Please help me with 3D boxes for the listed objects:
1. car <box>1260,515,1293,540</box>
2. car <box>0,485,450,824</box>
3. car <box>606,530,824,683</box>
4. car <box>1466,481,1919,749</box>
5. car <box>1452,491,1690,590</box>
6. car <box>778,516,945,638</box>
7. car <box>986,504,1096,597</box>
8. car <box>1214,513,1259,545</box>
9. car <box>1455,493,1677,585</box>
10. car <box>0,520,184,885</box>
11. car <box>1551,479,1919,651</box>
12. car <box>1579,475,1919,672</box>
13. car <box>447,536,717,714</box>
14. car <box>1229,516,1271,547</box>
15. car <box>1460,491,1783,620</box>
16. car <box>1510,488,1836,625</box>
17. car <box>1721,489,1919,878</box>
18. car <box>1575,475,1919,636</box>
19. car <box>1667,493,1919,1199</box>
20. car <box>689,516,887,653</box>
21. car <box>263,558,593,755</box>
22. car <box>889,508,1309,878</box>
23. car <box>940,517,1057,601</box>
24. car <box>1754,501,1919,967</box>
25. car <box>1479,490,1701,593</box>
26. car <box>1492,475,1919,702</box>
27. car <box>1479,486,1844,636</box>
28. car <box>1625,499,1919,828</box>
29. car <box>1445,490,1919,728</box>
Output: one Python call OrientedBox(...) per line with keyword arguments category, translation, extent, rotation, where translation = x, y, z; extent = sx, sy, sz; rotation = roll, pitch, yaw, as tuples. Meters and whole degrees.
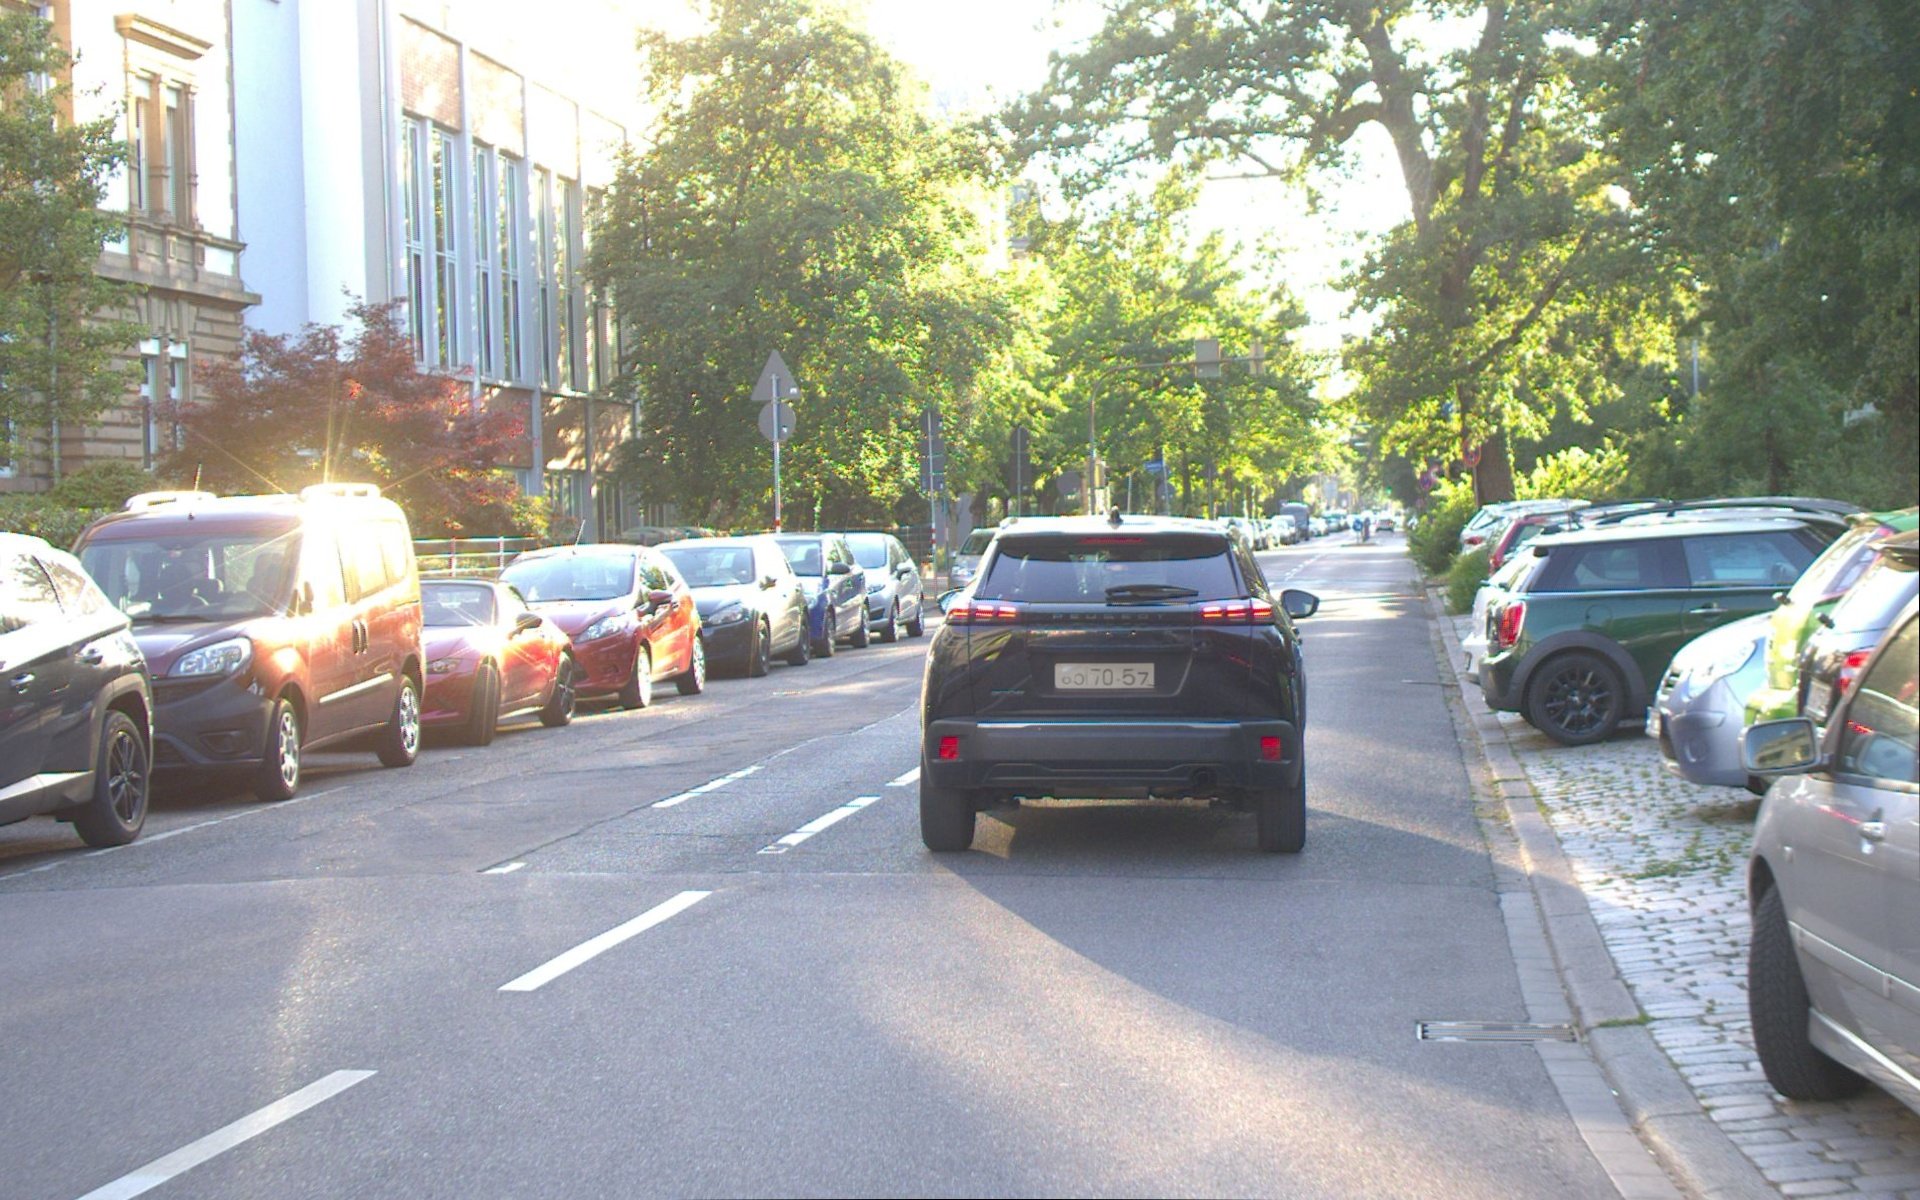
OrientedBox(category="car", translation=(18.599, -4.276, 202.266), extent=(1.810, 1.349, 4.000), rotation=(-2, 1, 4))
OrientedBox(category="car", translation=(-4.725, 0.254, 21.913), extent=(1.808, 1.883, 4.237), rotation=(-3, 2, 6))
OrientedBox(category="car", translation=(-2.612, 0.026, 37.507), extent=(1.599, 1.450, 4.054), rotation=(-3, 2, 6))
OrientedBox(category="car", translation=(5.354, 0.058, 23.331), extent=(3.610, 1.520, 1.671), rotation=(-5, 1, 6))
OrientedBox(category="car", translation=(11.009, -1.078, 62.113), extent=(4.123, 1.661, 1.722), rotation=(-1, 1, 8))
OrientedBox(category="car", translation=(-1.295, -0.342, 46.853), extent=(1.601, 1.488, 3.771), rotation=(-3, 2, 8))
OrientedBox(category="car", translation=(1.686, -1.035, 69.916), extent=(1.680, 1.702, 4.339), rotation=(-3, 2, 8))
OrientedBox(category="car", translation=(12.256, -3.171, 152.544), extent=(1.810, 1.349, 4.000), rotation=(-2, 1, 2))
OrientedBox(category="car", translation=(11.792, -1.189, 66.786), extent=(4.172, 1.704, 1.866), rotation=(-1, 1, 12))
OrientedBox(category="car", translation=(-5.333, 0.521, 16.422), extent=(1.742, 1.670, 4.416), rotation=(-3, 2, 6))
OrientedBox(category="car", translation=(8.163, -0.368, 35.809), extent=(3.808, 1.470, 1.756), rotation=(-5, 0, 8))
OrientedBox(category="car", translation=(7.528, -0.274, 30.826), extent=(3.726, 1.493, 1.819), rotation=(-5, 0, 8))
OrientedBox(category="car", translation=(-3.379, 0.180, 31.399), extent=(1.599, 1.450, 3.861), rotation=(-2, 1, 6))
OrientedBox(category="car", translation=(13.360, -3.173, 158.697), extent=(1.810, 1.349, 4.000), rotation=(-2, 1, 4))
OrientedBox(category="car", translation=(9.357, -0.645, 48.916), extent=(4.339, 1.470, 1.741), rotation=(-4, 2, 9))
OrientedBox(category="car", translation=(9.108, -0.567, 44.188), extent=(3.925, 1.449, 1.831), rotation=(-4, 1, 9))
OrientedBox(category="car", translation=(5.115, 0.283, 14.365), extent=(3.628, 1.535, 1.671), rotation=(-1, 2, 8))
OrientedBox(category="car", translation=(8.918, -0.503, 38.555), extent=(3.808, 1.470, 1.831), rotation=(-5, 0, 8))
OrientedBox(category="car", translation=(2.747, 0.529, 7.415), extent=(1.651, 1.562, 4.301), rotation=(-2, 1, 2))
OrientedBox(category="car", translation=(-2.071, -0.227, 42.416), extent=(1.599, 1.502, 3.786), rotation=(-3, 2, 9))
OrientedBox(category="car", translation=(-4.051, 0.391, 26.721), extent=(1.556, 1.275, 3.732), rotation=(-3, 2, 6))
OrientedBox(category="car", translation=(0.769, 0.356, 16.639), extent=(1.768, 1.563, 3.380), rotation=(2, 2, 6))
OrientedBox(category="car", translation=(0.751, -0.791, 64.396), extent=(1.671, 1.488, 4.060), rotation=(-1, 1, 8))
OrientedBox(category="car", translation=(4.872, 0.360, 11.855), extent=(3.950, 1.506, 1.739), rotation=(-2, 1, 7))
OrientedBox(category="car", translation=(10.891, -1.000, 59.627), extent=(3.589, 1.561, 1.818), rotation=(-3, 0, 7))
OrientedBox(category="car", translation=(6.339, -0.120, 28.305), extent=(3.667, 1.547, 1.735), rotation=(-5, 1, 6))
OrientedBox(category="car", translation=(8.370, -0.477, 41.322), extent=(4.121, 1.469, 1.831), rotation=(-4, 1, 9))
OrientedBox(category="car", translation=(5.086, 0.263, 16.902), extent=(3.386, 1.520, 1.671), rotation=(-2, 1, 6))
OrientedBox(category="car", translation=(5.565, 0.043, 25.709), extent=(3.667, 1.440, 1.735), rotation=(-5, 1, 6))
